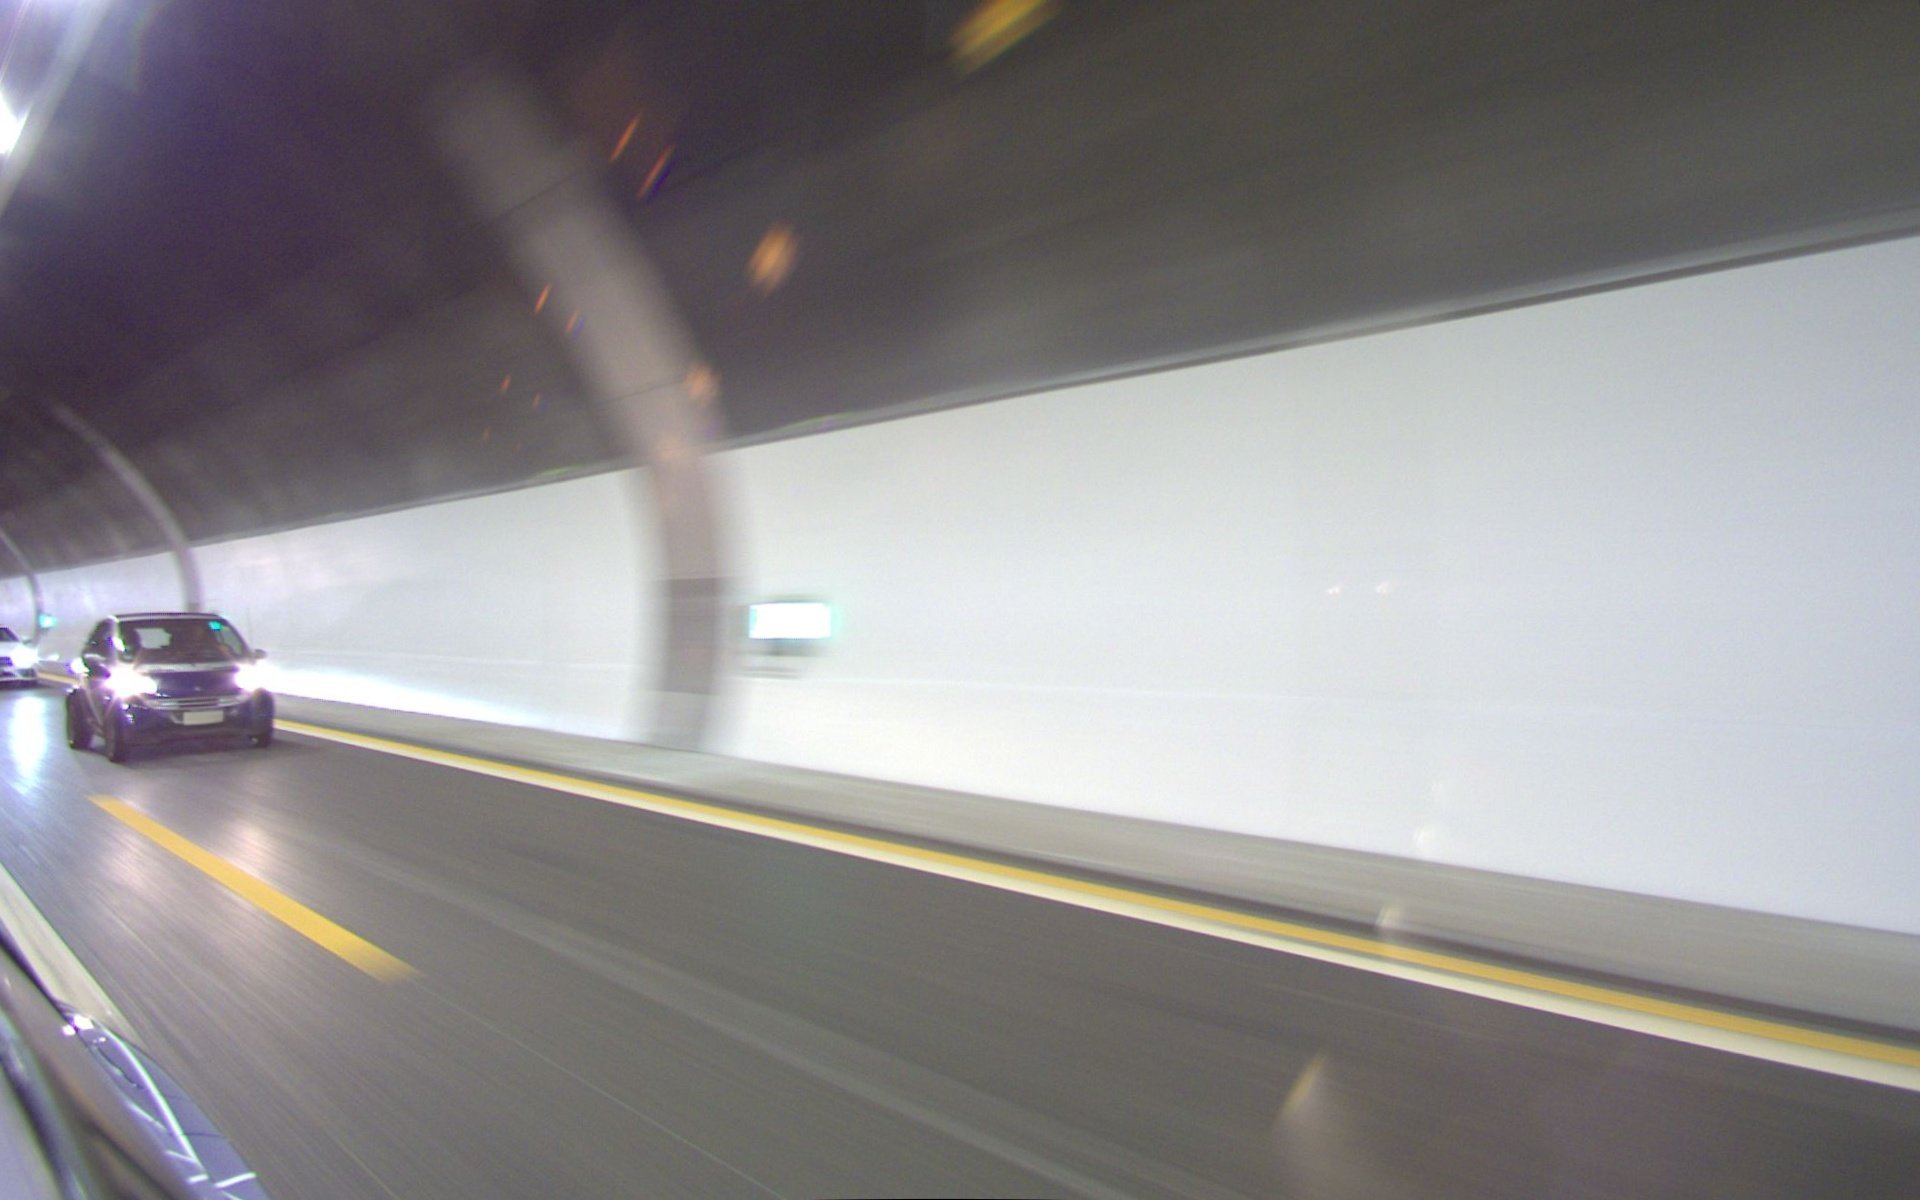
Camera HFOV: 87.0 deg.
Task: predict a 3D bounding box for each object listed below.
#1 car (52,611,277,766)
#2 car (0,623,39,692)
[{"bbox_3d":[-9.093,0.914,11.528,2.649,1.528,1.512,-1,-1,40],"label":"car"},{"bbox_3d":[-21.742,1.246,22.128,4.058,1.431,1.885,-1,-1,40],"label":"car"}]
